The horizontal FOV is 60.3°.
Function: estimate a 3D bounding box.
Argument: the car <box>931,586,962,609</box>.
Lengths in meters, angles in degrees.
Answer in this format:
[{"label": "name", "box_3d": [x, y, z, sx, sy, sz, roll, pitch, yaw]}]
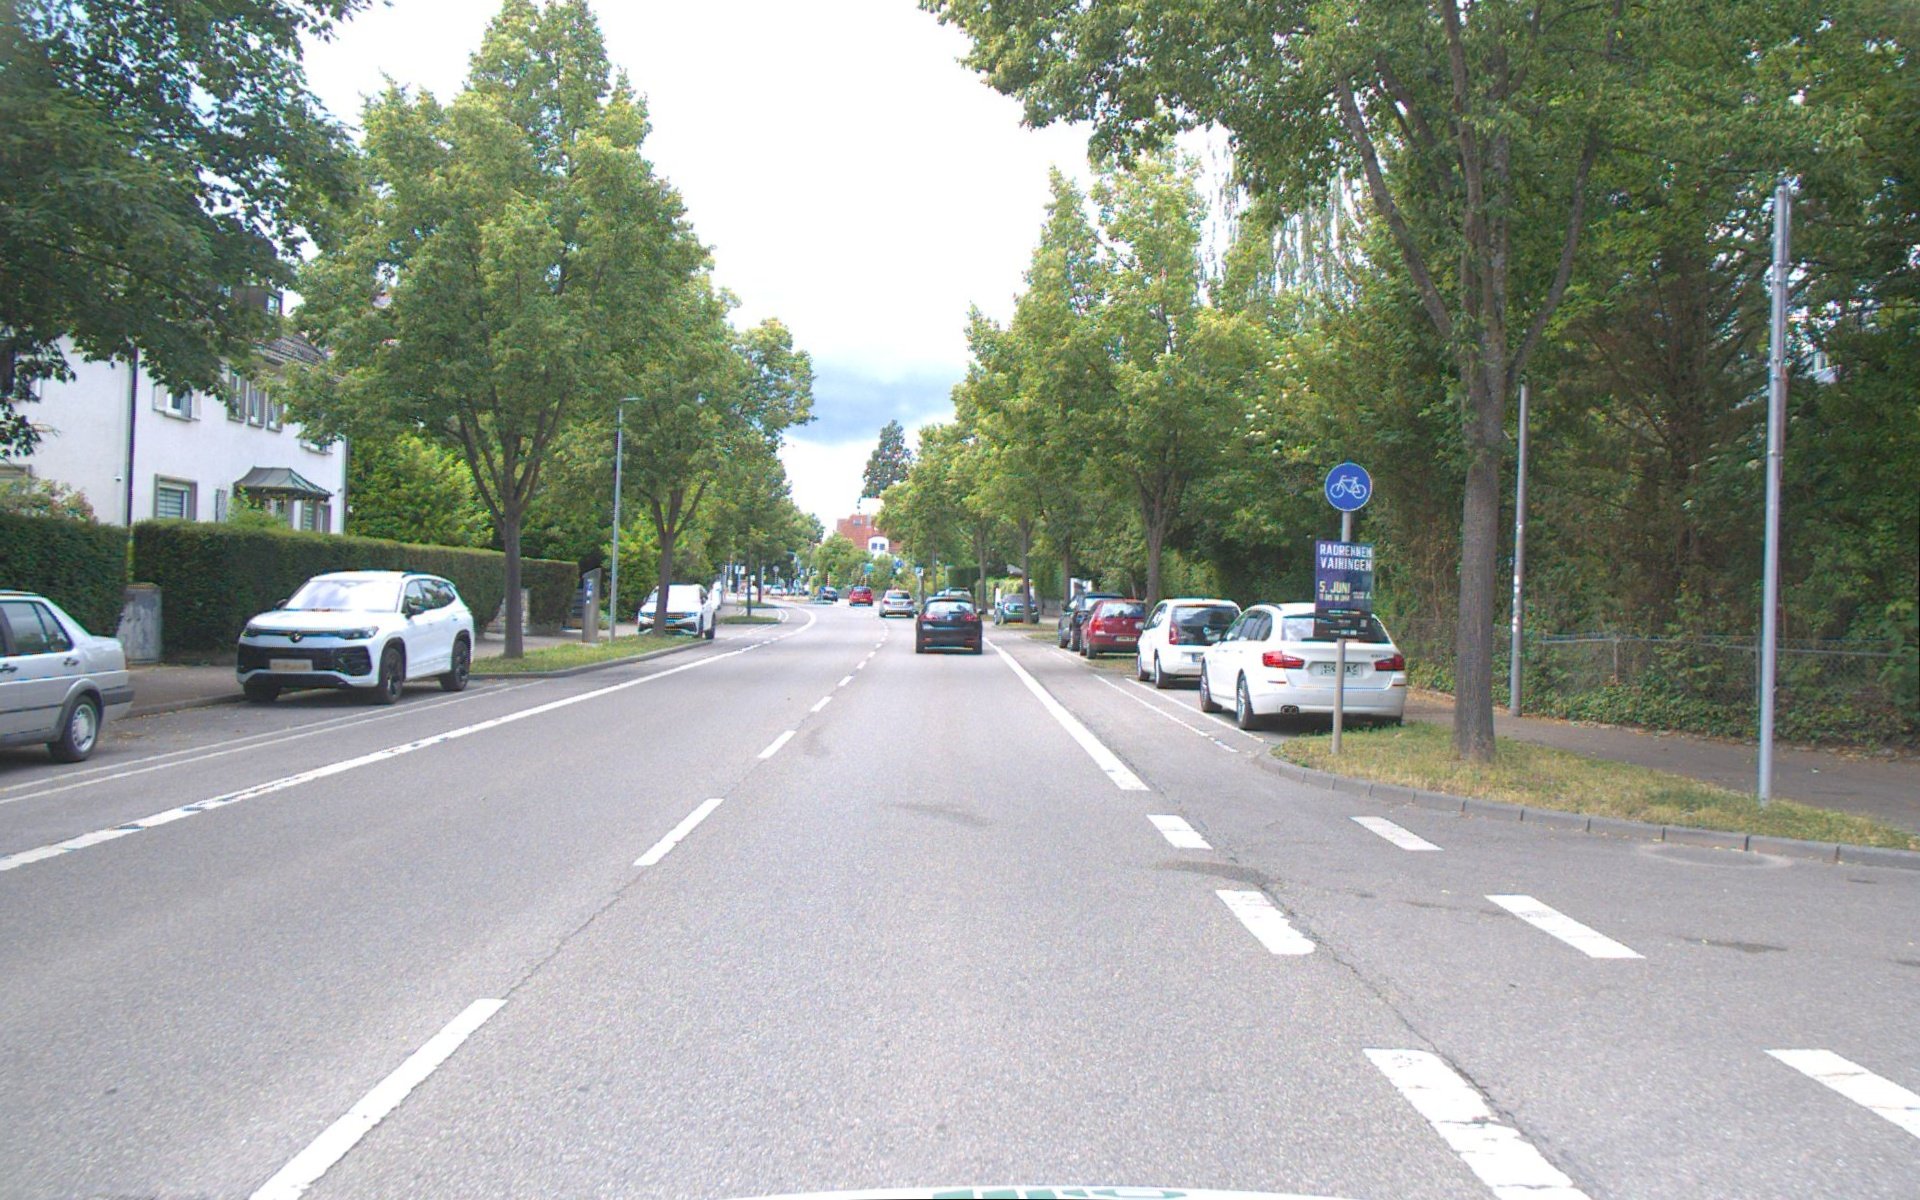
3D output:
[{"label": "car", "box_3d": [-0.913, -0.150, 109.246, 1.654, 1.474, 3.574, 1, 0, -7]}]

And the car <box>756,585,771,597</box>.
[{"label": "car", "box_3d": [-29.406, -1.317, 247.643, 1.934, 1.705, 3.874, 1, 0, -4]}]

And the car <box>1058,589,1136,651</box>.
[{"label": "car", "box_3d": [3.789, 0.533, 46.441, 1.605, 1.644, 4.167, 1, 0, -3]}]

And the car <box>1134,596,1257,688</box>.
[{"label": "car", "box_3d": [4.073, 0.682, 29.054, 1.583, 1.485, 3.656, 1, 0, -1]}]

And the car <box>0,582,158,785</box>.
[{"label": "car", "box_3d": [-7.901, 0.611, 12.606, 1.524, 1.496, 4.450, 1, 0, -2]}]

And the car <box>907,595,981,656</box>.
[{"label": "car", "box_3d": [-0.441, 0.625, 42.782, 1.747, 1.474, 3.556, 1, 0, -3]}]

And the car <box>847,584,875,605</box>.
[{"label": "car", "box_3d": [-7.622, -0.457, 127.028, 1.955, 1.557, 3.995, 1, 0, -6]}]

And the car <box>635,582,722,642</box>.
[{"label": "car", "box_3d": [-8.405, 0.329, 49.764, 1.835, 1.718, 4.865, 1, 0, -1]}]

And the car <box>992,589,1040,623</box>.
[{"label": "car", "box_3d": [2.529, 0.253, 75.950, 1.650, 1.457, 4.039, 1, 0, -6]}]

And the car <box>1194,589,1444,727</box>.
[{"label": "car", "box_3d": [4.297, 0.630, 20.668, 1.979, 1.468, 5.024, 1, 0, 0]}]

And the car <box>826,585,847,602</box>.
[{"label": "car", "box_3d": [-12.108, -0.602, 161.709, 1.955, 1.534, 3.995, 2, -1, -6]}]

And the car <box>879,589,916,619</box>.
[{"label": "car", "box_3d": [-3.476, 0.230, 91.510, 1.954, 1.585, 3.998, 1, 0, -3]}]

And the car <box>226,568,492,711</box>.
[{"label": "car", "box_3d": [-7.956, 0.467, 22.421, 1.779, 1.681, 4.699, 1, 0, 1]}]

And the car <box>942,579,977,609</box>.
[{"label": "car", "box_3d": [-0.044, -0.377, 103.318, 1.754, 1.802, 3.977, 1, 0, -6]}]

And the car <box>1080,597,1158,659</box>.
[{"label": "car", "box_3d": [3.892, 0.662, 40.964, 1.604, 1.445, 4.000, 1, 0, 1]}]
